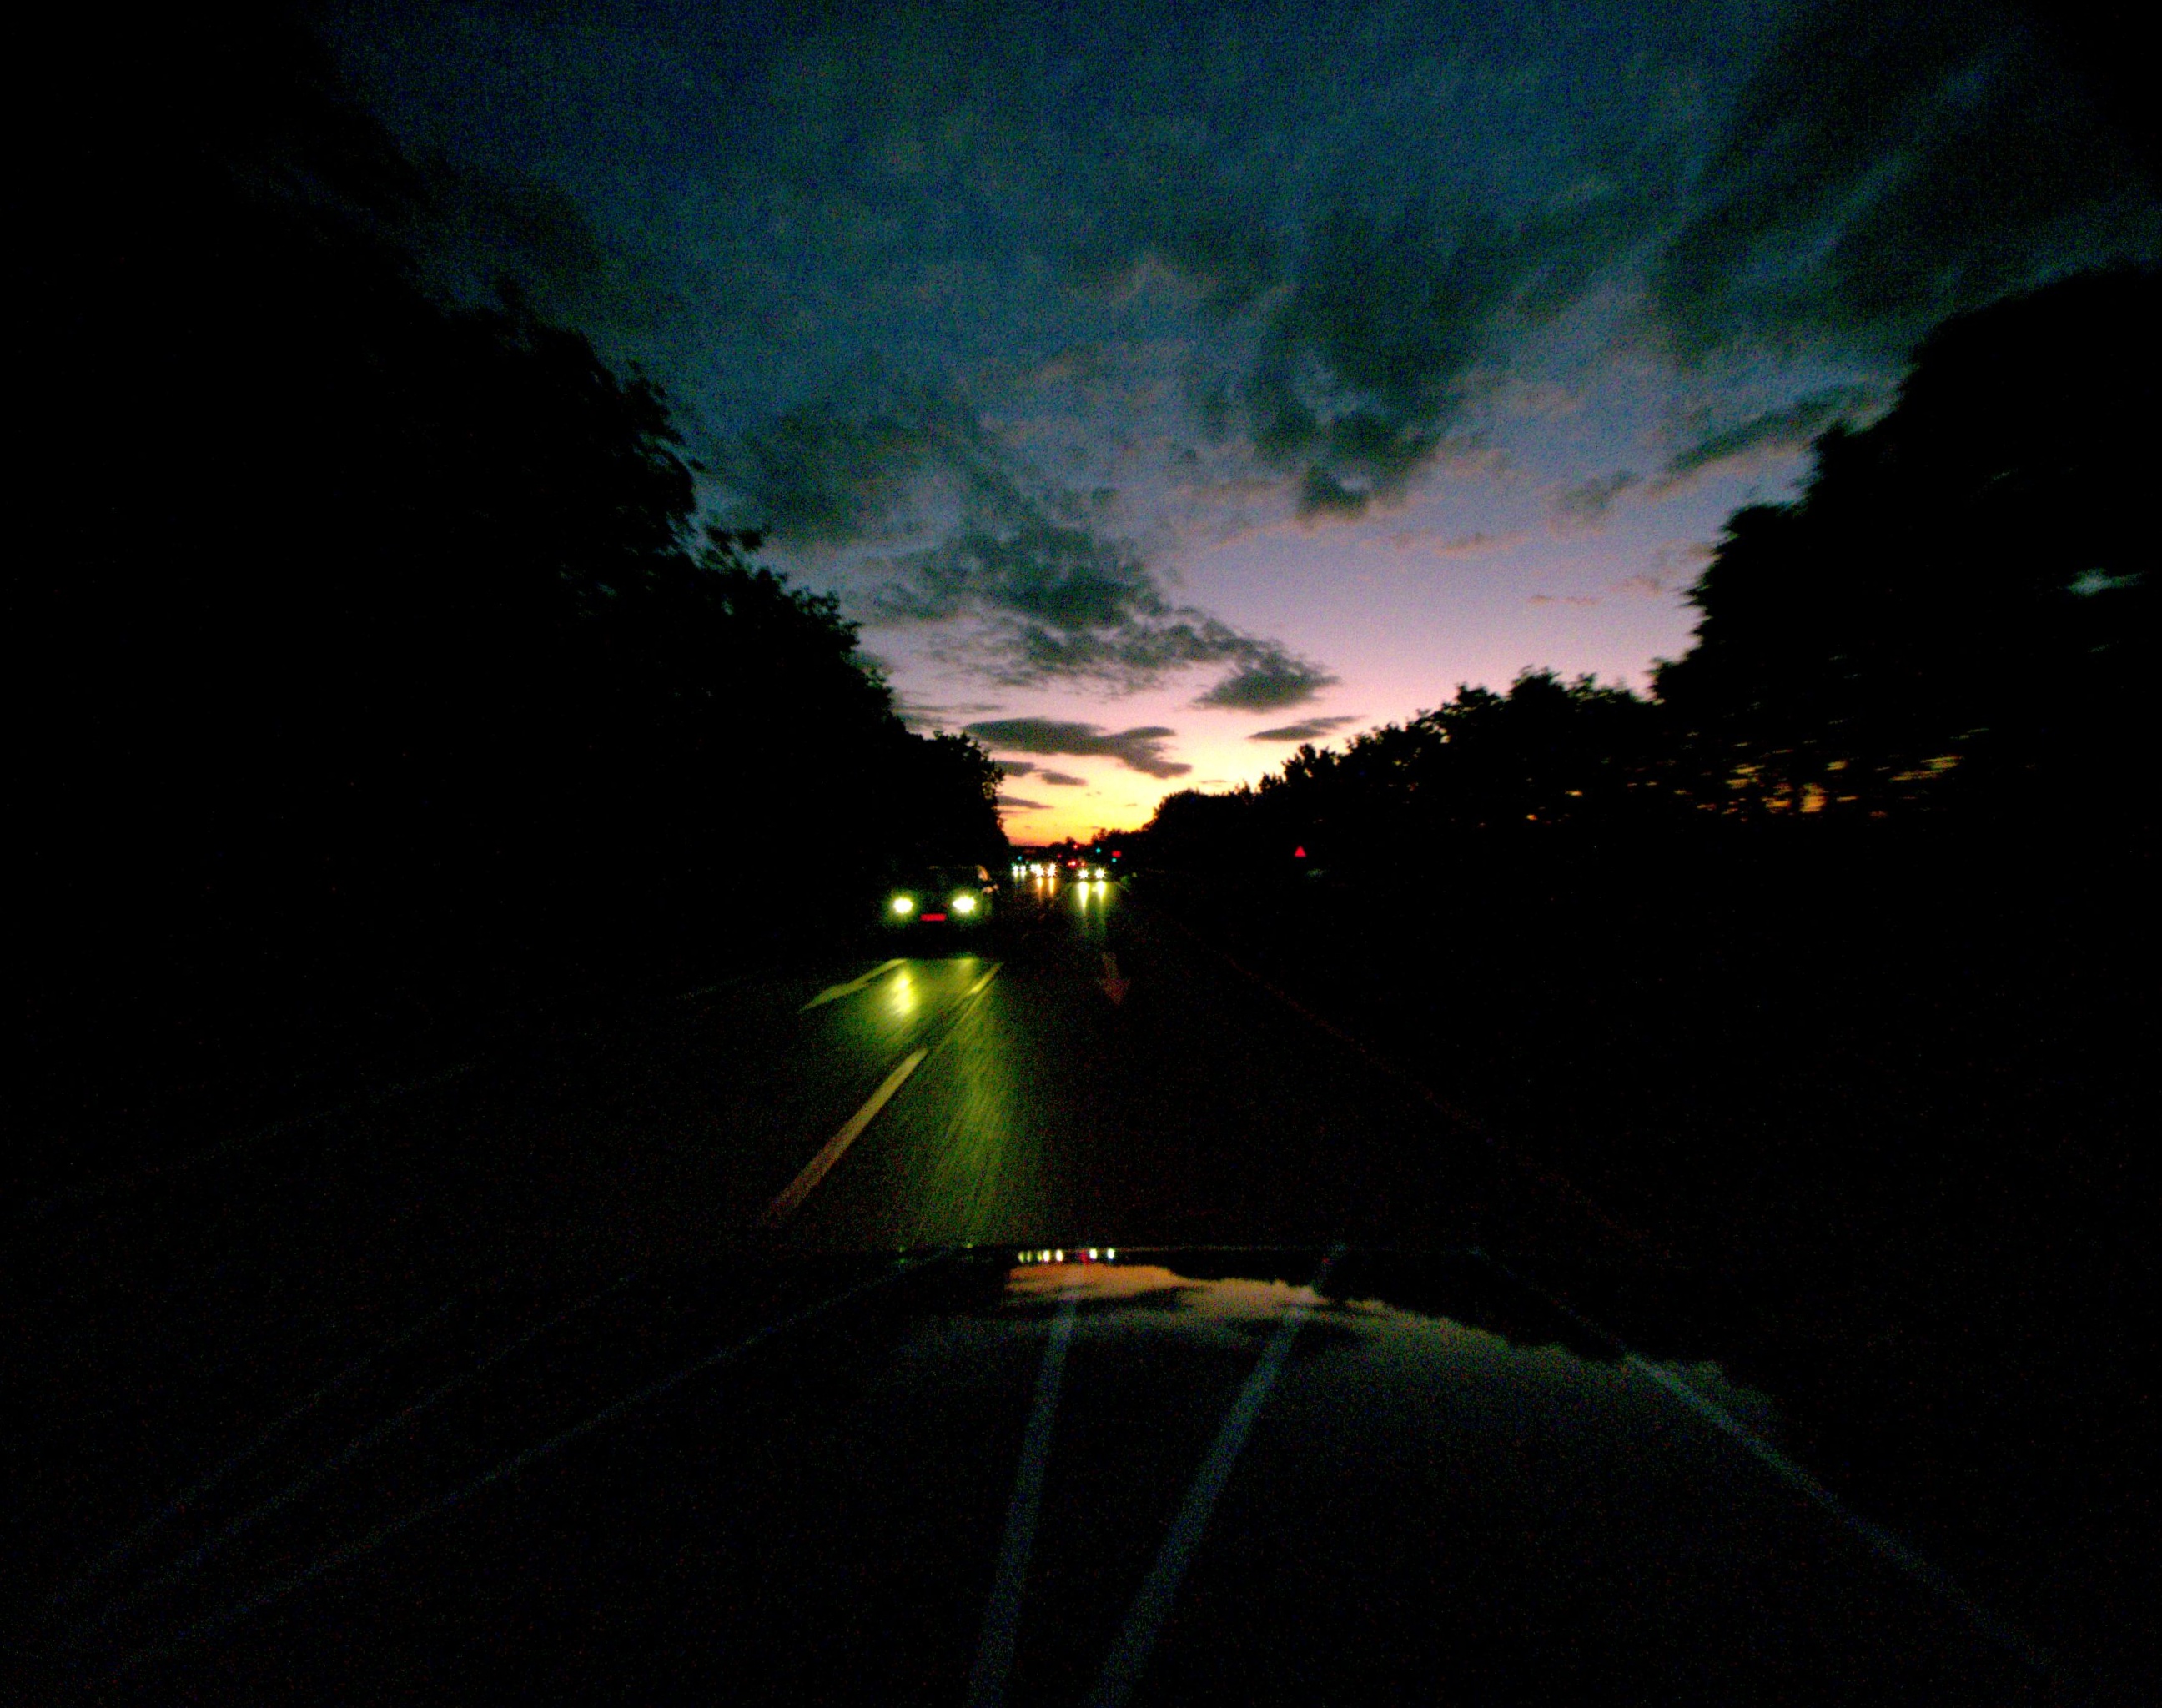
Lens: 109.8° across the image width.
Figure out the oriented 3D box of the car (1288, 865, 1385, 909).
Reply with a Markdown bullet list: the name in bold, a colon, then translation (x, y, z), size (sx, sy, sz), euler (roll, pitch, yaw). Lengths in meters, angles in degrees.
- **car**: translation (9.222, 1.158, 27.853), size (1.926, 1.423, 4.501), euler (1, 0, -1)

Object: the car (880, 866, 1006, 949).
- **car**: translation (-3.037, 1.112, 17.773), size (1.998, 1.600, 4.712), euler (-2, 0, 0)

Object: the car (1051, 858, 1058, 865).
- **car**: translation (-7.058, 2.018, 202.482), size (1.999, 1.602, 4.501), euler (-1, 0, -1)

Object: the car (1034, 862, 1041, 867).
- **car**: translation (-12.589, 3.027, 221.033), size (1.999, 1.423, 4.501), euler (1, 0, -1)

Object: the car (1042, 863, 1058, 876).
- **car**: translation (-3.556, 1.754, 88.121), size (1.624, 1.460, 3.871), euler (-2, 0, 0)

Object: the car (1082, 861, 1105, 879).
- **car**: translation (1.047, 1.374, 66.287), size (1.901, 1.472, 4.514), euler (-2, 0, 0)
